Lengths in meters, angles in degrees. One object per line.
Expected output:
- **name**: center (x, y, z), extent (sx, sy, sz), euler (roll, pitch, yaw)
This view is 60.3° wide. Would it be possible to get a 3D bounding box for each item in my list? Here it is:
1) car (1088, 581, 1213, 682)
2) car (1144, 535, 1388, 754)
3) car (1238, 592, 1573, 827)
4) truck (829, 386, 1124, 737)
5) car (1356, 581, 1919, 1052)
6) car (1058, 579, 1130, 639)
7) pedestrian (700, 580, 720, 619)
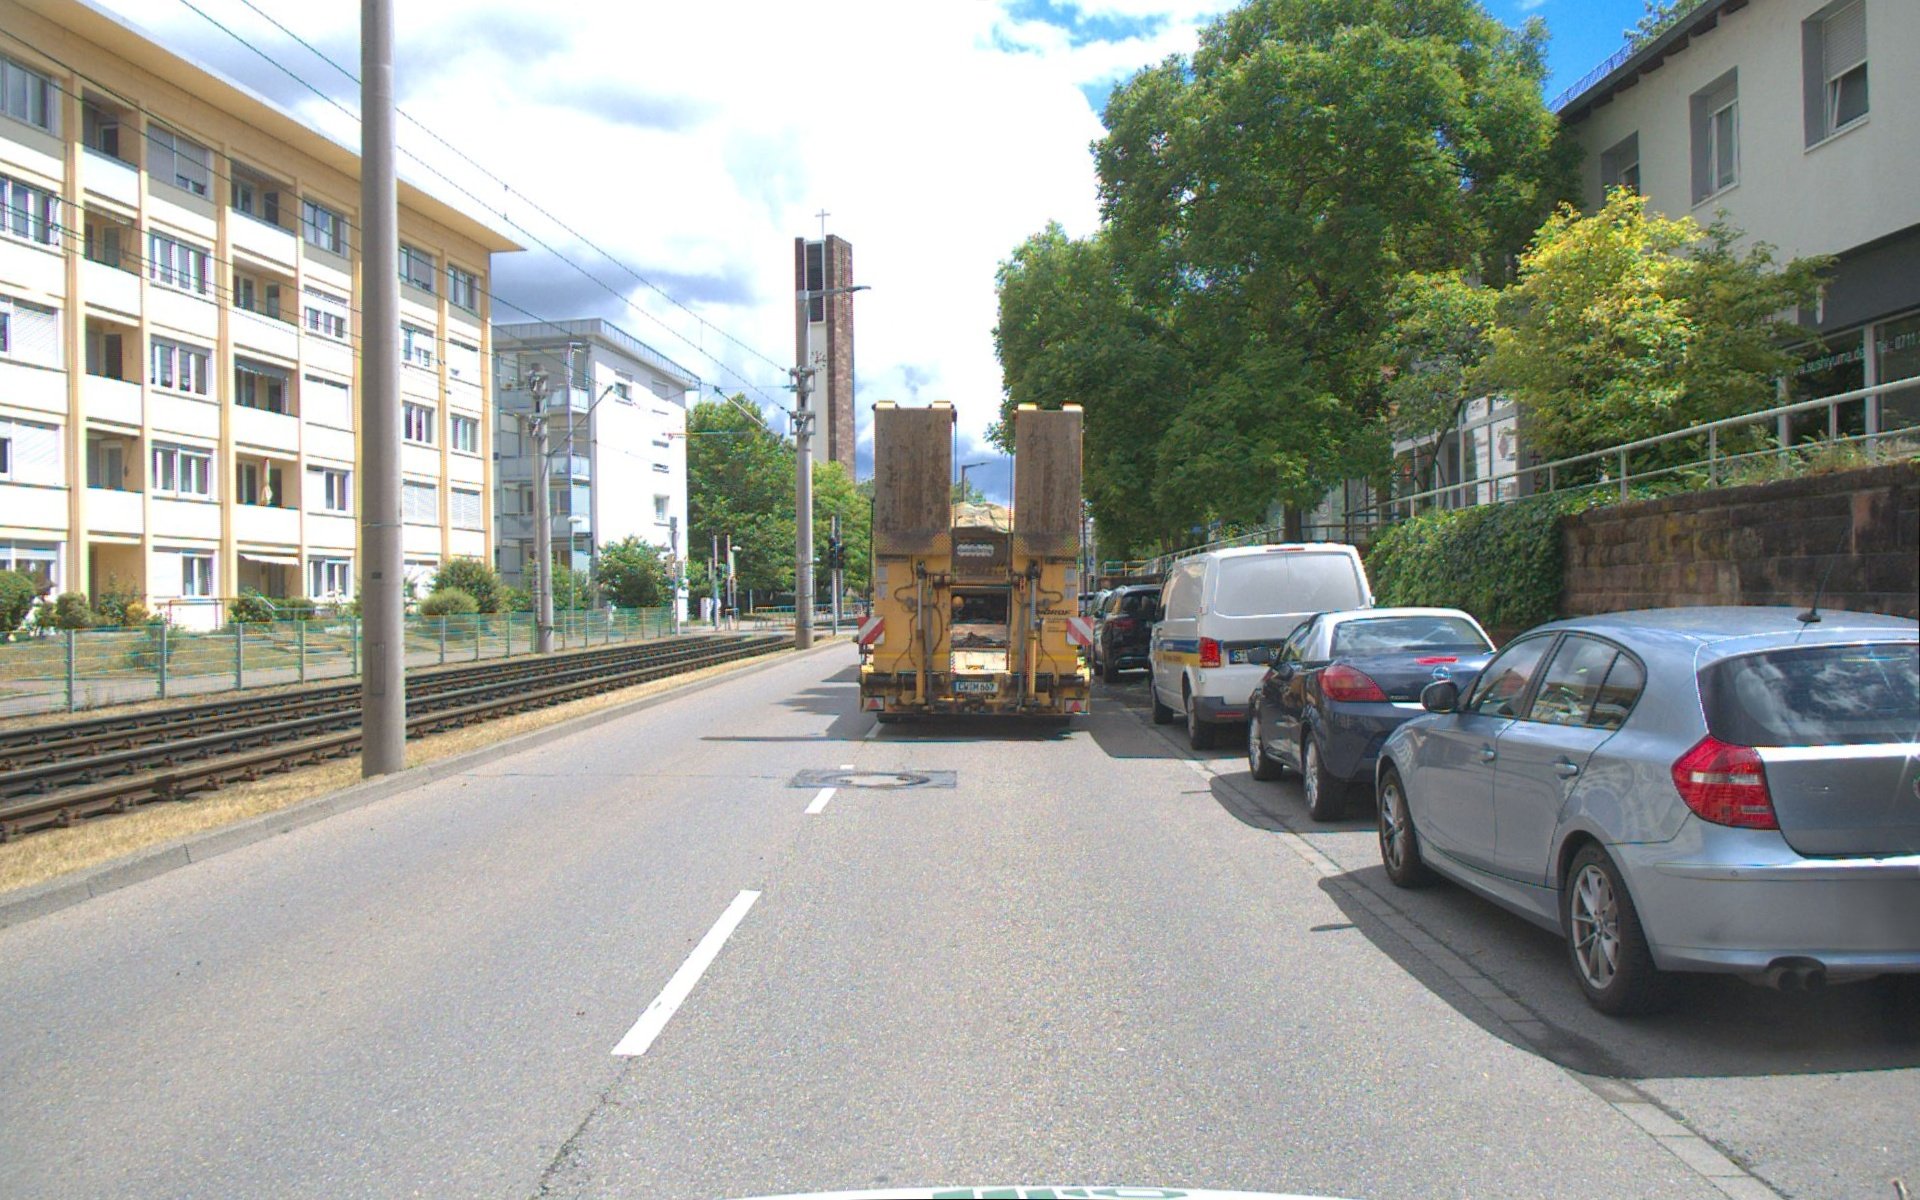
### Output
- **car**: center (3.349, 0.502, 29.766), extent (1.762, 1.651, 4.292), euler (-1, 1, 0)
- **car**: center (3.133, 0.388, 17.851), extent (1.762, 2.002, 4.590), euler (-2, 1, 0)
- **car**: center (3.163, 0.695, 12.436), extent (1.587, 1.430, 3.650), euler (-2, 1, 1)
- **truck**: center (0.083, -0.488, 23.486), extent (3.060, 3.626, 12.458), euler (-1, 1, -1)
- **car**: center (3.100, 0.656, 7.251), extent (1.656, 1.430, 4.068), euler (-2, 1, -1)
- **car**: center (3.859, 0.228, 48.057), extent (1.762, 1.651, 4.292), euler (-1, 1, 0)
- **pedestrian**: center (-13.450, -0.029, 88.832), extent (0.936, 2.049, 1.174), euler (-1, 1, -14)
